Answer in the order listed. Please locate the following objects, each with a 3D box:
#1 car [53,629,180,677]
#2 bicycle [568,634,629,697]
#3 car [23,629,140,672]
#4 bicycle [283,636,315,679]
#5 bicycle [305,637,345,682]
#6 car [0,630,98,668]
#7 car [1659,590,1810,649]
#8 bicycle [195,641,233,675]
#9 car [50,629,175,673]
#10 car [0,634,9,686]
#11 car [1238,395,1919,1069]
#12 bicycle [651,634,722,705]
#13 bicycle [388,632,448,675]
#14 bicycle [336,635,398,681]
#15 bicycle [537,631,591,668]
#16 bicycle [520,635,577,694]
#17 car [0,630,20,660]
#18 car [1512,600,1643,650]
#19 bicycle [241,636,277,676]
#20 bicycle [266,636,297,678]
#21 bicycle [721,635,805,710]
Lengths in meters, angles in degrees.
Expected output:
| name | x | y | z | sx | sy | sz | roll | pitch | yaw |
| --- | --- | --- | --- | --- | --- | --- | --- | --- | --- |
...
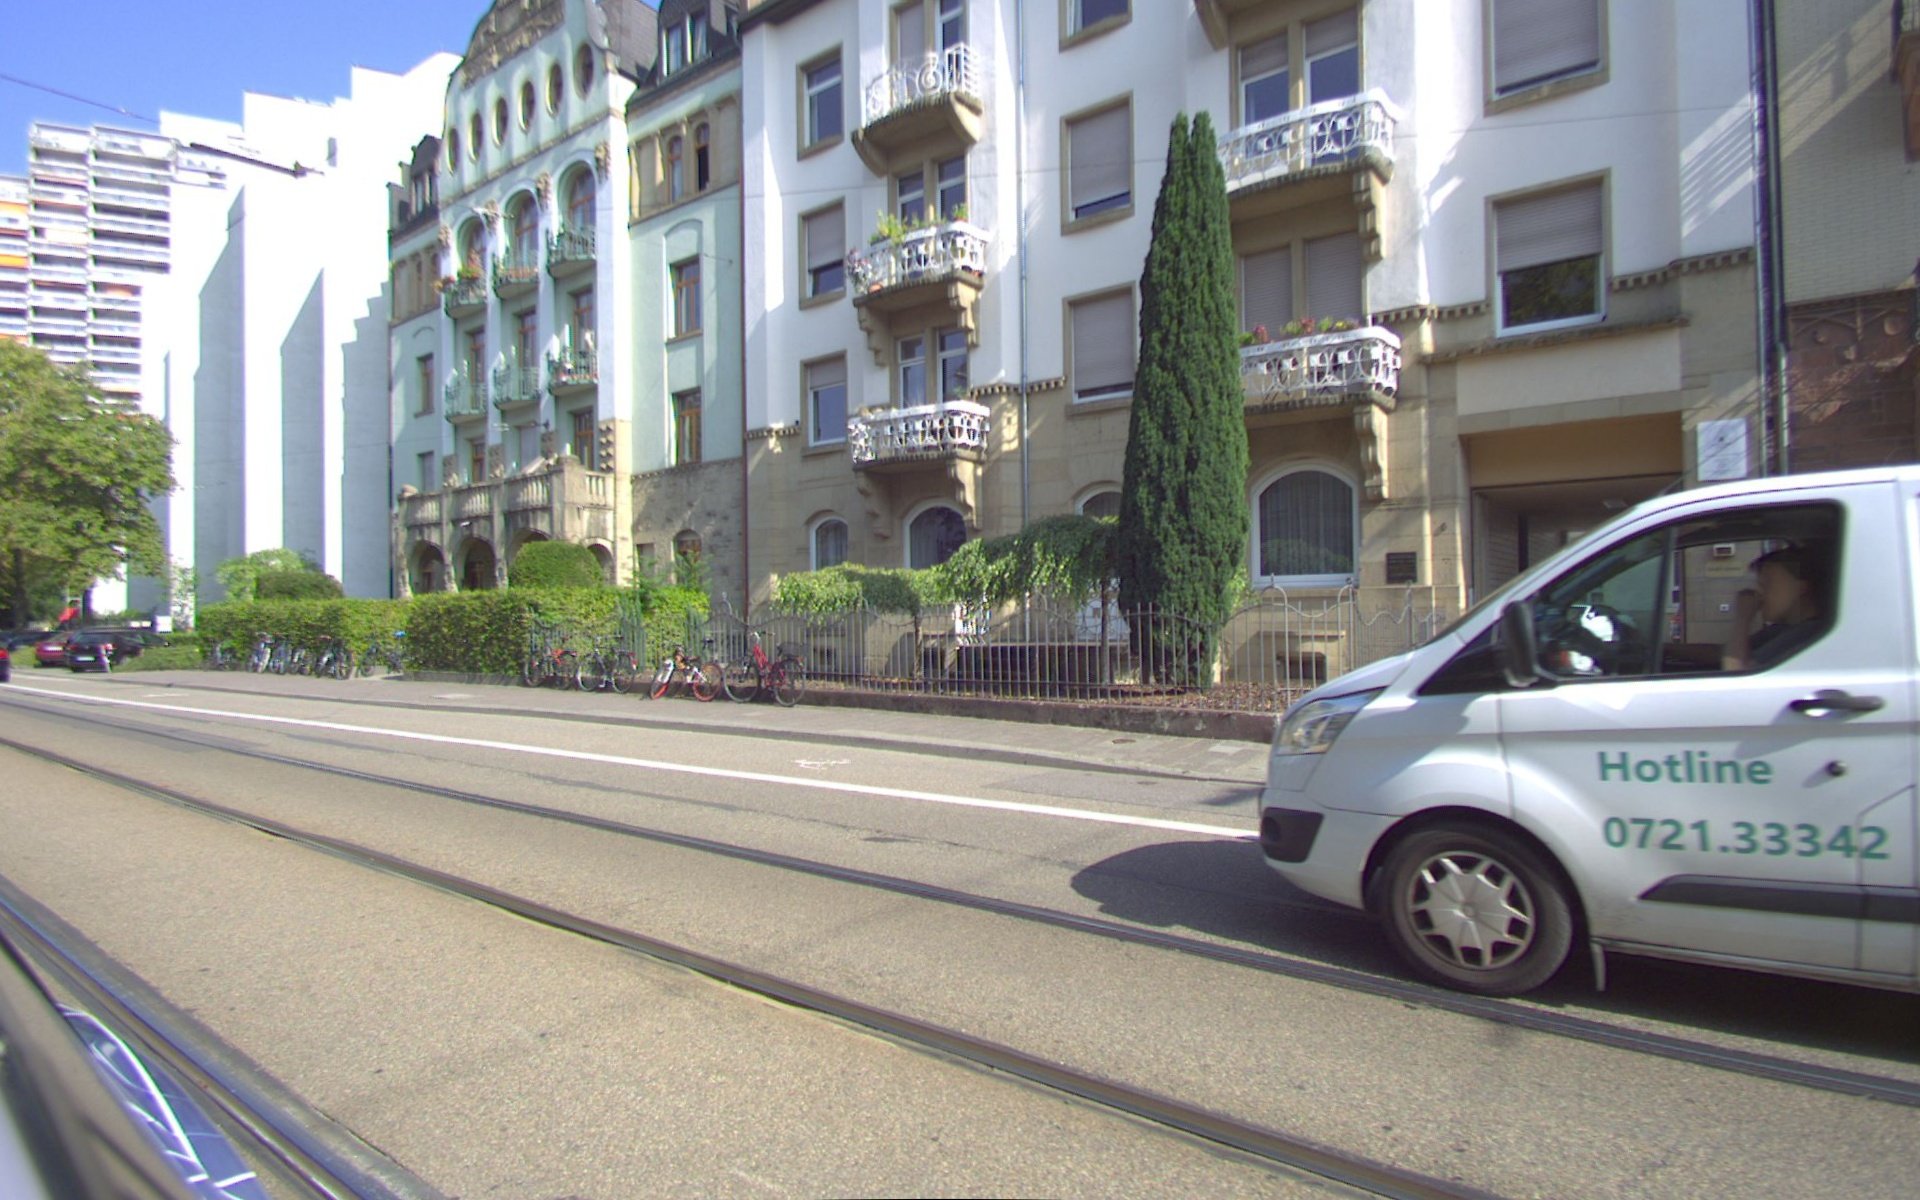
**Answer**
| name | x | y | z | sx | sy | sz | roll | pitch | yaw |
| --- | --- | --- | --- | --- | --- | --- | --- | --- | --- |
| car | -29.528 | 1.829 | 35.599 | 1.743 | 1.539 | 4.009 | 0 | -1 | -11 |
| bicycle | -6.544 | 1.171 | 18.312 | 1.353 | 1.096 | 0.367 | -2 | -2 | 37 |
| car | -34.545 | 1.944 | 39.940 | 1.743 | 1.539 | 4.009 | 0 | -1 | -11 |
| bicycle | -17.503 | 1.512 | 26.792 | 0.419 | 1.096 | 1.678 | 1 | -2 | -43 |
| bicycle | -15.940 | 1.479 | 25.388 | 1.676 | 1.096 | 0.420 | -2 | -2 | 42 |
| car | -40.312 | 2.119 | 44.667 | 1.743 | 1.539 | 4.009 | 0 | -1 | -11 |
| car | 21.510 | 0.519 | 28.110 | 3.931 | 1.539 | 1.778 | 0 | -1 | -27 |
| bicycle | -22.438 | 1.729 | 30.445 | 1.767 | 0.985 | 0.420 | -2 | -2 | 37 |
| car | -32.097 | 1.880 | 38.471 | 1.745 | 1.539 | 4.006 | -1 | -1 | -7 |
| car | -28.675 | 1.705 | 28.696 | 4.637 | 1.413 | 1.681 | -1 | 0 | 37 |
| car | 3.722 | 0.397 | 3.677 | 4.847 | 2.029 | 1.977 | -2 | -2 | 35 |
| bicycle | -4.471 | 1.114 | 16.487 | 1.353 | 1.096 | 0.367 | -2 | -2 | 37 |
| bicycle | -14.175 | 1.387 | 26.508 | 0.425 | 1.096 | 1.338 | -2 | -2 | 36 |
| bicycle | -14.779 | 1.429 | 25.261 | 0.422 | 1.096 | 1.387 | -1 | -1 | 20 |
| bicycle | -10.666 | 1.316 | 27.265 | 1.331 | 0.956 | 0.427 | 0 | -1 | -19 |
| bicycle | -7.909 | 1.221 | 19.436 | 1.353 | 1.096 | 0.367 | -2 | -2 | 37 |
| car | -50.020 | 2.316 | 51.204 | 1.743 | 1.539 | 4.009 | 0 | -1 | -11 |
| car | 19.894 | 0.788 | 32.594 | 3.931 | 1.539 | 1.778 | 0 | -1 | -27 |
| bicycle | -19.743 | 1.560 | 28.498 | 1.675 | 1.096 | 0.420 | -2 | -2 | 40 |
| bicycle | -18.231 | 1.518 | 27.170 | 0.419 | 1.096 | 1.678 | 1 | -2 | -43 |
| bicycle | -3.020 | 1.082 | 15.468 | 1.485 | 1.096 | 0.367 | -2 | -2 | 37 |
